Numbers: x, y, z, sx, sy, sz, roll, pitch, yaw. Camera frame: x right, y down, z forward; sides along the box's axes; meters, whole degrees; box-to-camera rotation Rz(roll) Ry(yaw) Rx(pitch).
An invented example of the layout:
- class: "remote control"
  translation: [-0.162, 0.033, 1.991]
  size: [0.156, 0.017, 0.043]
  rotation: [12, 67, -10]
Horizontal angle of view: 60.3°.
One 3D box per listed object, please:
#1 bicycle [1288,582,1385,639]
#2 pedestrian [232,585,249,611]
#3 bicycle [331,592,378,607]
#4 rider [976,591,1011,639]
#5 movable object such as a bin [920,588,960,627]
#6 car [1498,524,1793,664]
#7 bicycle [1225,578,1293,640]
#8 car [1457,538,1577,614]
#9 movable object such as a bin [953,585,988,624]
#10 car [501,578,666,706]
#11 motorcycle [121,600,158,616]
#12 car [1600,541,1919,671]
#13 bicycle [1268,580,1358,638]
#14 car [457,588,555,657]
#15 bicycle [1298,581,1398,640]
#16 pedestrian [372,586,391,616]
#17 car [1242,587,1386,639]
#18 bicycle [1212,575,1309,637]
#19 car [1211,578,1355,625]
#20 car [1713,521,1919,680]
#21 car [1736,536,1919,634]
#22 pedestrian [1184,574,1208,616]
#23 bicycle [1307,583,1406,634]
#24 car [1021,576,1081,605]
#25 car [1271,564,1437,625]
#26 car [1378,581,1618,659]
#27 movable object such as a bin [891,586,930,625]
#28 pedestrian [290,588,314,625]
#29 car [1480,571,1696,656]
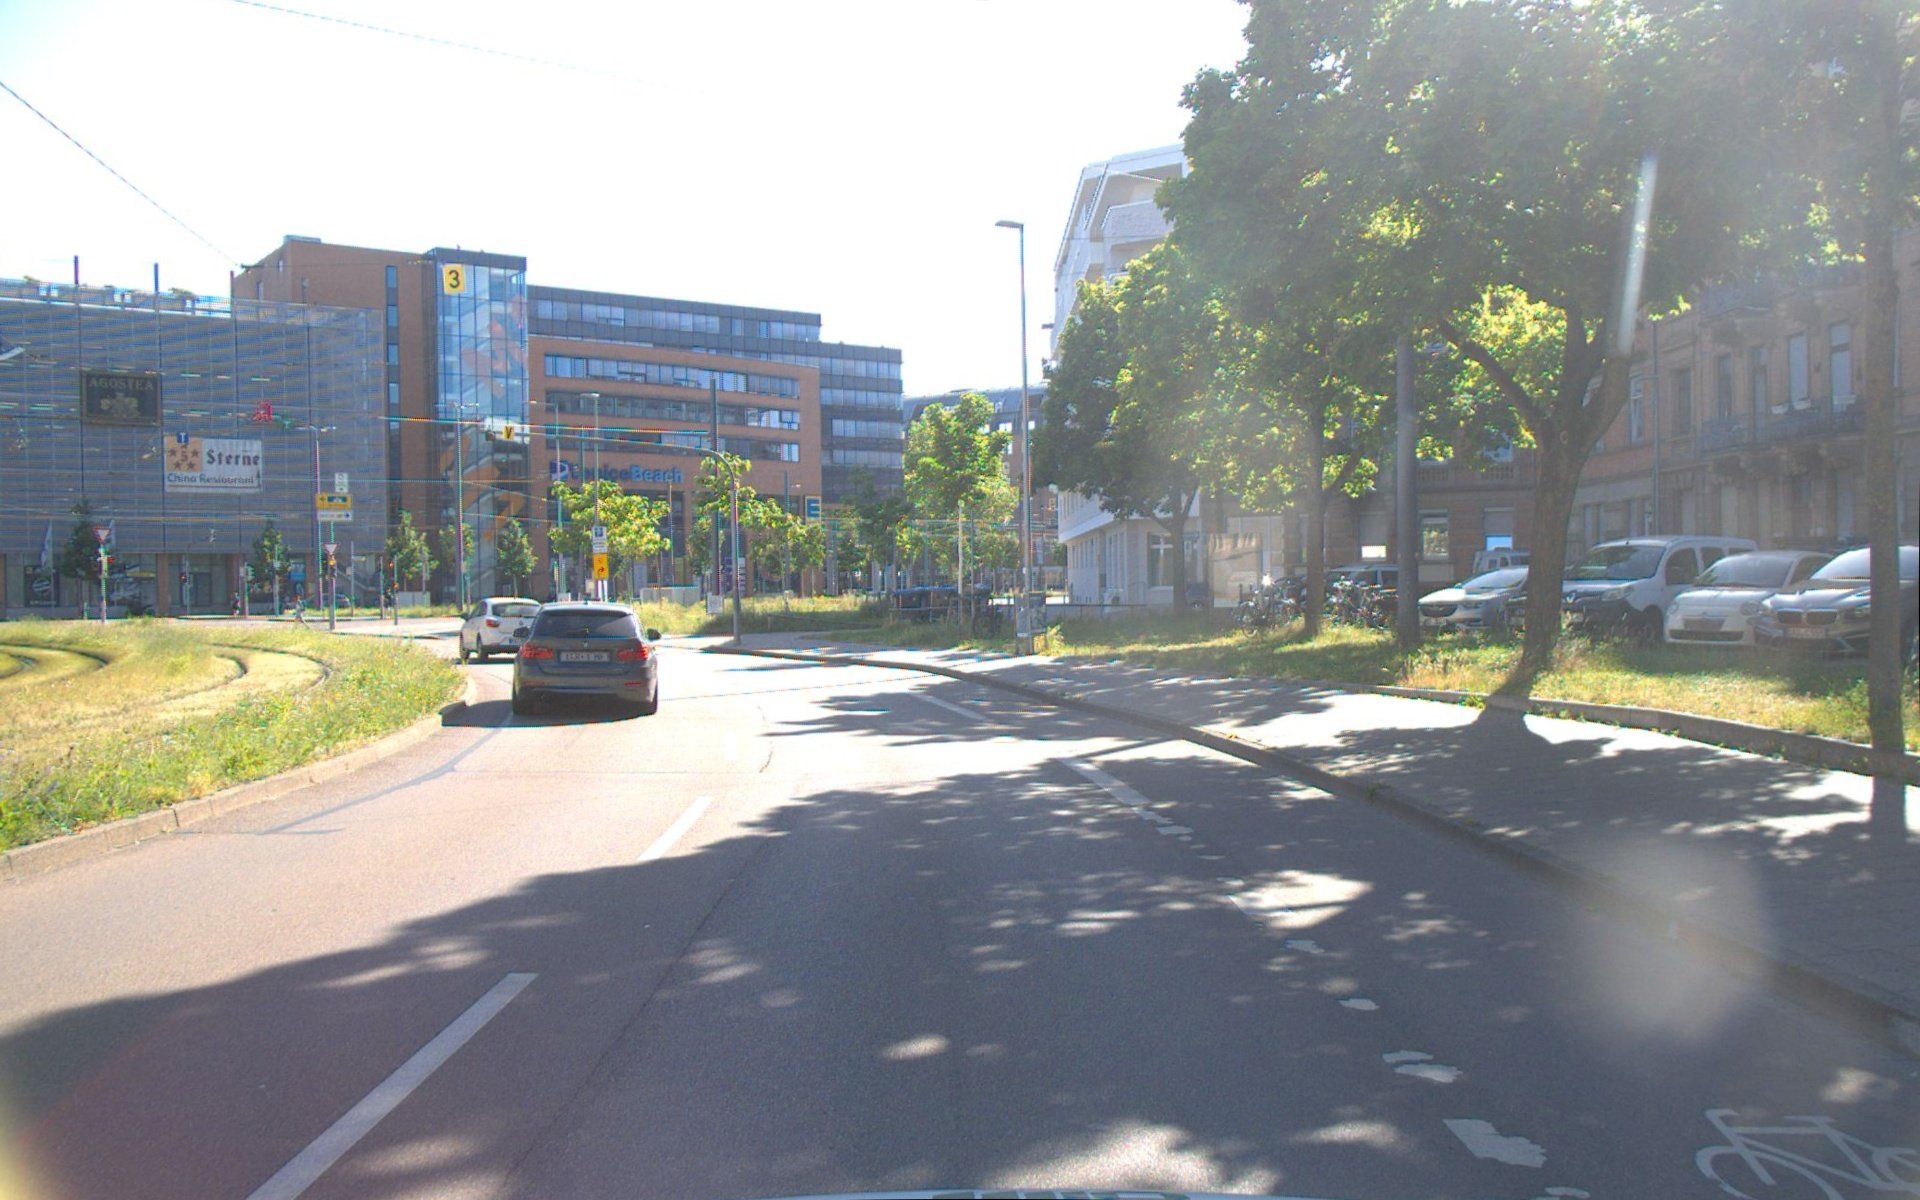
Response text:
- class: "bicycle"
  translation: [8.284, 0.231, 36.438]
  size: [1.917, 1.213, 0.841]
  rotation: [-1, 0, -1]
- class: "pedestrian"
  translation: [-48.770, -0.146, 112.090]
  size: [0.850, 1.768, 0.741]
  rotation: [0, 0, -45]
- class: "bicycle"
  translation: [-47.726, -0.071, 130.367]
  size: [3.329, 1.096, 1.104]
  rotation: [2, 0, -33]
- class: "rider"
  translation: [0.873, 0.382, 42.814]
  size: [0.491, 1.196, 1.677]
  rotation: [0, 1, 17]
- class: "movable object such as a bin"
  translation: [-0.730, 0.269, 61.579]
  size: [1.084, 1.423, 1.321]
  rotation: [0, 0, 20]
- class: "car"
  translation: [11.010, -0.133, 26.461]
  size: [4.823, 2.048, 2.075]
  rotation: [-2, 0, -35]
- class: "bicycle"
  translation: [6.448, 0.181, 35.640]
  size: [0.755, 1.312, 1.590]
  rotation: [-1, 0, 39]
- class: "car"
  translation: [18.704, -0.814, 55.854]
  size: [2.301, 2.398, 5.188]
  rotation: [-1, 1, 0]
- class: "movable object such as a bin"
  translation: [0.390, 0.170, 61.380]
  size: [1.007, 1.423, 1.091]
  rotation: [0, 0, 20]
- class: "car"
  translation: [-4.883, 0.559, 21.961]
  size: [1.702, 1.448, 4.458]
  rotation: [3, -2, -8]
- class: "motorcycle"
  translation: [-59.543, 0.597, 120.047]
  size: [2.187, 1.061, 1.047]
  rotation: [2, 0, -39]
- class: "car"
  translation: [11.781, 0.050, 24.025]
  size: [4.814, 1.676, 2.079]
  rotation: [-2, 0, -30]
- class: "bicycle"
  translation: [8.784, 0.219, 41.166]
  size: [2.056, 1.423, 0.785]
  rotation: [1, -1, -12]
- class: "car"
  translation: [-10.568, 0.534, 38.372]
  size: [1.610, 1.448, 3.754]
  rotation: [3, -2, -23]
- class: "bicycle"
  translation: [8.316, 0.228, 35.515]
  size: [1.905, 1.201, 0.900]
  rotation: [-1, -1, -1]
- class: "pedestrian"
  translation: [-33.156, 0.050, 94.751]
  size: [0.801, 1.738, 0.751]
  rotation: [1, 0, -39]
- class: "car"
  translation: [10.305, 0.364, 48.160]
  size: [3.776, 1.466, 1.749]
  rotation: [0, 0, -21]
- class: "bicycle"
  translation: [6.922, 0.141, 38.113]
  size: [2.053, 1.389, 0.786]
  rotation: [0, -1, -6]
- class: "car"
  translation: [9.834, 0.052, 50.355]
  size: [3.990, 1.360, 1.826]
  rotation: [0, 0, -24]
- class: "car"
  translation: [11.566, -0.033, 20.334]
  size: [4.451, 1.758, 1.980]
  rotation: [-2, 0, -30]
- class: "car"
  translation: [19.359, -0.346, 36.786]
  size: [1.953, 2.012, 4.724]
  rotation: [-1, 1, 0]
- class: "pedestrian"
  translation: [9.030, -0.196, 63.228]
  size: [0.630, 1.604, 0.768]
  rotation: [0, -1, 37]
- class: "bicycle"
  translation: [9.328, 0.195, 38.970]
  size: [2.120, 1.178, 0.822]
  rotation: [0, 0, -4]
- class: "car"
  translation: [6.491, -0.657, 117.500]
  size: [3.902, 2.049, 2.001]
  rotation: [0, 0, 15]
- class: "car"
  translation: [10.810, -0.137, 45.272]
  size: [4.412, 1.593, 1.917]
  rotation: [0, 0, -32]
- class: "car"
  translation: [10.510, 0.367, 32.202]
  size: [4.696, 1.404, 2.022]
  rotation: [0, 0, -34]
- class: "movable object such as a bin"
  translation: [-1.835, 0.186, 61.645]
  size: [1.046, 1.423, 1.304]
  rotation: [0, 0, 20]
- class: "pedestrian"
  translation: [-30.684, 0.307, 77.094]
  size: [0.880, 1.737, 0.703]
  rotation: [1, 0, -39]
- class: "car"
  translation: [11.150, 0.226, 29.325]
  size: [3.571, 1.404, 1.903]
  rotation: [0, 0, -34]
